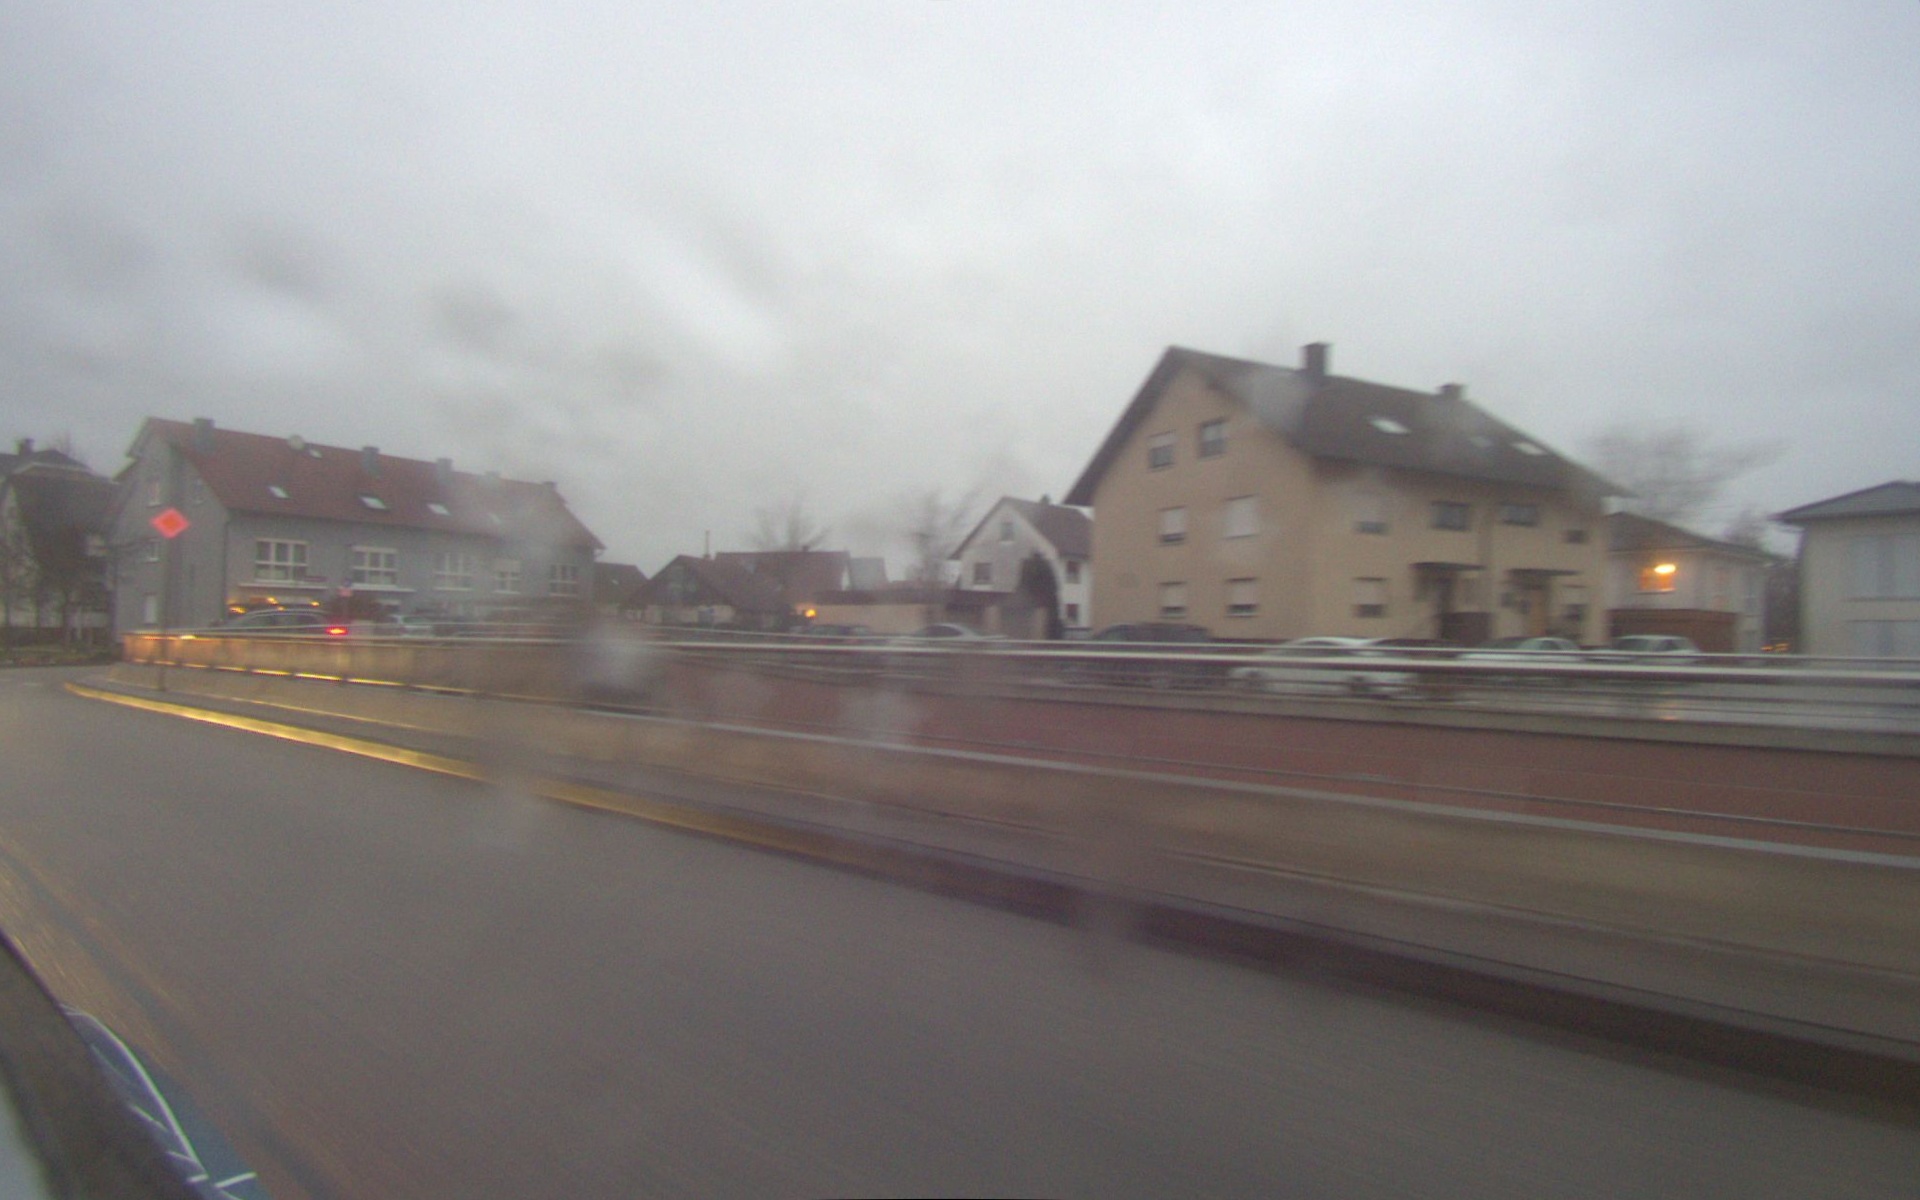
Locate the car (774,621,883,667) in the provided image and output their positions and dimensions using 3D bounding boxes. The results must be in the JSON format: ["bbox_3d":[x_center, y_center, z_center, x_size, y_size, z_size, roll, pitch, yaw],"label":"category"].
[{"bbox_3d":[-4.648,1.510,35.507,3.831,1.425,1.659,0,1,41],"label":"car"}]

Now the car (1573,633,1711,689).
[{"bbox_3d":[21.636,1.884,32.090,3.931,1.556,2.006,-1,-1,-28],"label":"car"}]

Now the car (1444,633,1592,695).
[{"bbox_3d":[16.220,1.812,29.389,3.971,1.535,1.819,-1,0,-27],"label":"car"}]

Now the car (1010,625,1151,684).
[{"bbox_3d":[3.667,1.637,31.186,3.998,1.660,1.816,-2,-1,42],"label":"car"}]

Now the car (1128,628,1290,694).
[{"bbox_3d":[6.843,1.633,28.061,4.001,1.660,1.790,-2,-1,44],"label":"car"}]

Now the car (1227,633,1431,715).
[{"bbox_3d":[8.373,1.625,23.204,1.796,1.636,3.987,-1,-1,-44],"label":"car"}]

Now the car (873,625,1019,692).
[{"bbox_3d":[-0.487,1.797,31.988,4.353,1.919,1.974,-2,0,39],"label":"car"}]

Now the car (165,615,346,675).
[{"bbox_3d":[-22.157,1.362,31.985,1.995,1.633,4.295,-1,0,35],"label":"car"}]

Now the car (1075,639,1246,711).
[{"bbox_3d":[5.126,1.875,26.191,1.875,1.529,4.003,-1,1,-44],"label":"car"}]
